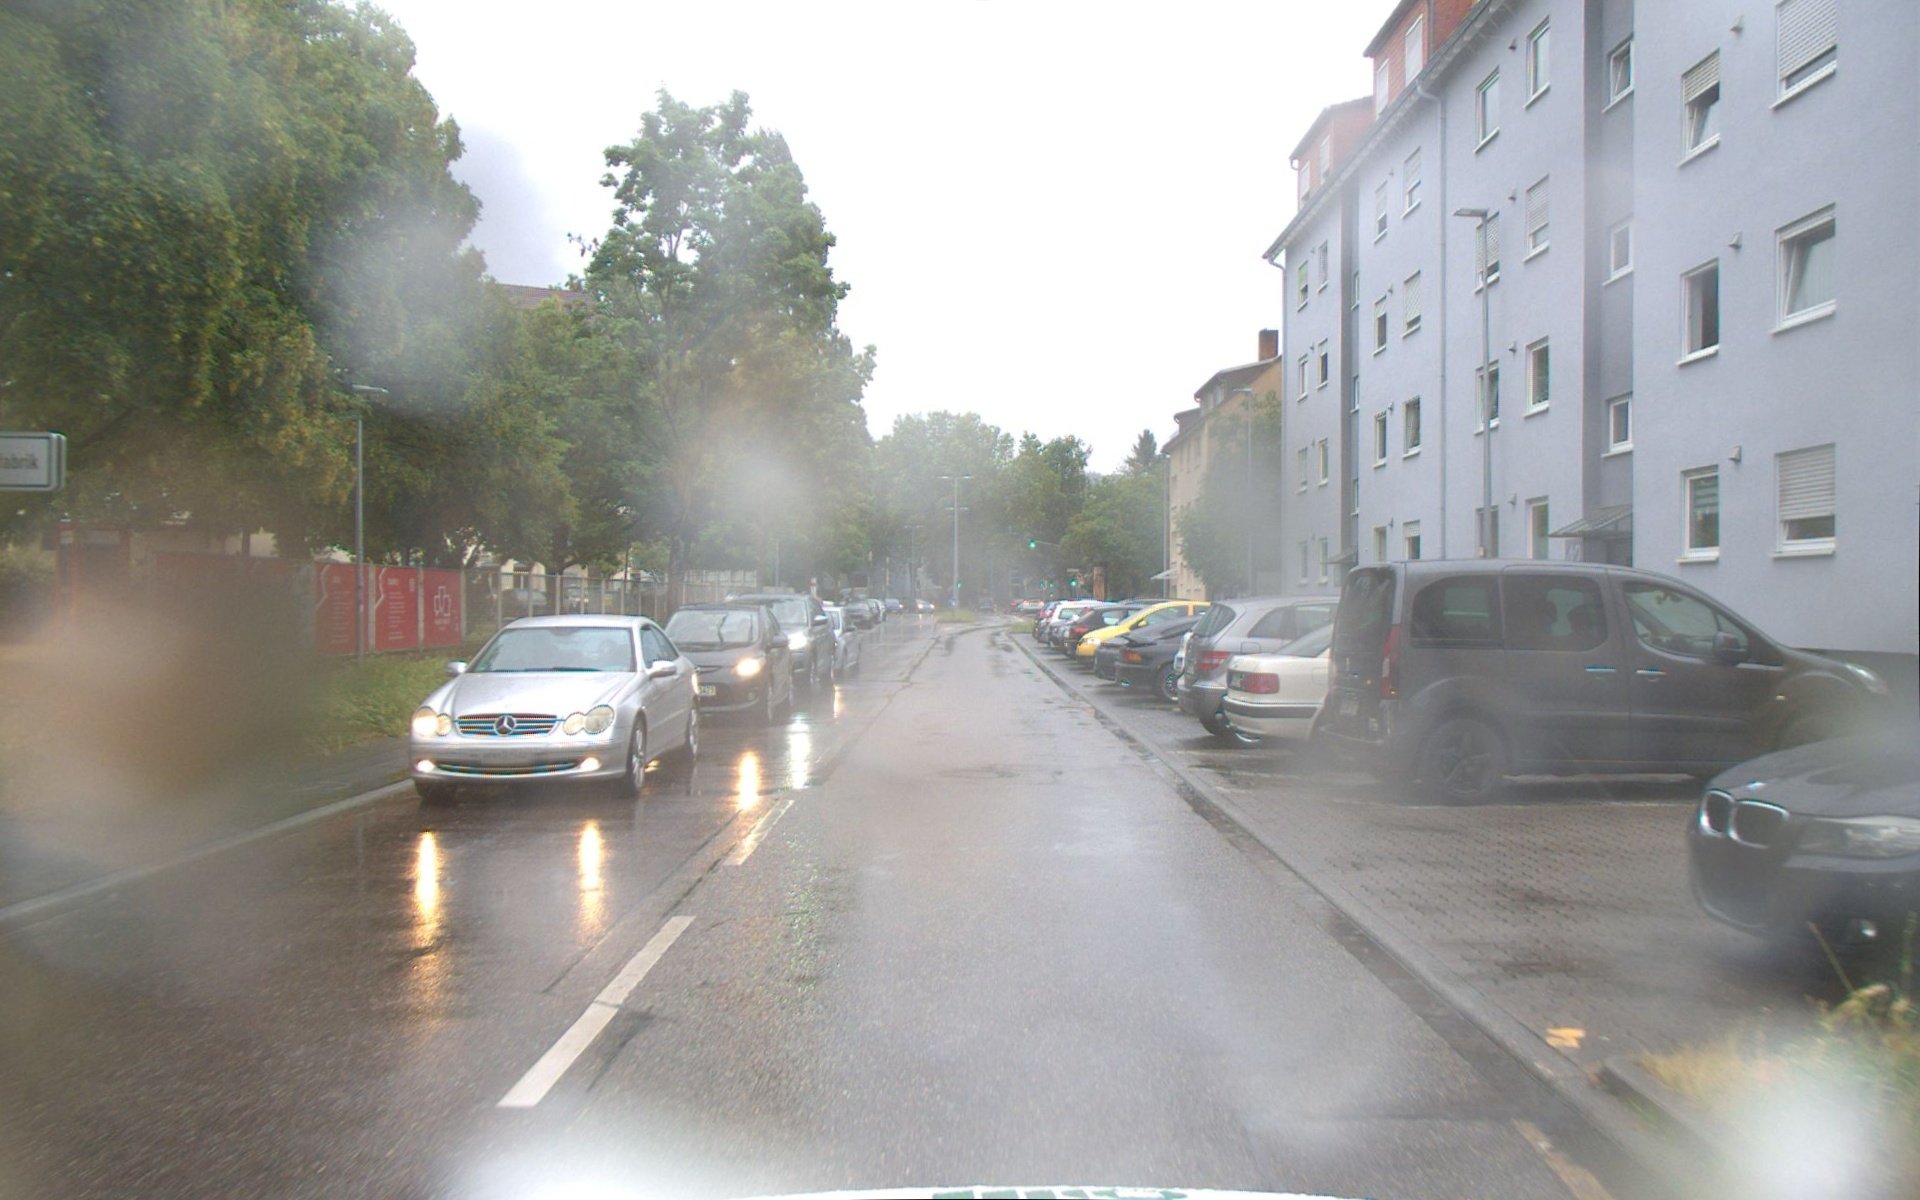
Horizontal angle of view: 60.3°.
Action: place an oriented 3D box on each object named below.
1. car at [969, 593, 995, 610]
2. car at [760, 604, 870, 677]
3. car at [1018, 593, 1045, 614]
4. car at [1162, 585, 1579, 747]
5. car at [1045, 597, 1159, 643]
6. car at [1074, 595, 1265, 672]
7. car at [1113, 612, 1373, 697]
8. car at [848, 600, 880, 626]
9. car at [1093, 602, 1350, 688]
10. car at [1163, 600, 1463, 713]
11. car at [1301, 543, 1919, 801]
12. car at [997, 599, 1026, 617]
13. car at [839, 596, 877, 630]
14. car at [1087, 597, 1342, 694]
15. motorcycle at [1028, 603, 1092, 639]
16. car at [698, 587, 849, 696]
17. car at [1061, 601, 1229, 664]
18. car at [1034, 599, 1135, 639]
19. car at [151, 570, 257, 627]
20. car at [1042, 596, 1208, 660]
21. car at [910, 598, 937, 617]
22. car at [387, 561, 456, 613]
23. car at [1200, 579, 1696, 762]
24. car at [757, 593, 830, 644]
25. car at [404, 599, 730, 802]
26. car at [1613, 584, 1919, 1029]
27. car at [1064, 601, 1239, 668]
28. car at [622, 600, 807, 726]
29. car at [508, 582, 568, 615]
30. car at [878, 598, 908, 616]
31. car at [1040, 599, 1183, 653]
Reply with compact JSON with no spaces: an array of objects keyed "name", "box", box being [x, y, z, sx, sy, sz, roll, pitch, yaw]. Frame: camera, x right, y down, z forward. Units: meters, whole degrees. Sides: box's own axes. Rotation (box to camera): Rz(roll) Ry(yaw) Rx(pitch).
[{"name":"car","box":[2.109,0.137,158.245,1.815,1.551,3.992,0,0,-9]},{"name":"car","box":[-2.940,0.798,34.339,1.637,1.407,4.254,0,0,4]},{"name":"car","box":[5.604,0.271,129.499,1.812,1.551,3.998,0,0,-2]},{"name":"car","box":[4.397,0.694,18.177,4.096,1.599,1.890,1,-1,-1]},{"name":"car","box":[5.071,0.716,59.465,3.906,1.579,1.904,1,-1,-2]},{"name":"car","box":[4.538,0.721,36.267,3.906,1.579,1.852,1,-1,-2]},{"name":"car","box":[4.335,0.823,25.834,3.774,1.229,1.956,1,0,2]},{"name":"car","box":[-5.841,0.775,100.561,1.890,1.510,3.998,0,0,-3]},{"name":"car","box":[4.818,0.817,30.995,4.532,1.461,2.000,1,-1,2]},{"name":"car","box":[4.867,0.762,23.174,3.776,1.480,1.836,1,0,-2]},{"name":"car","box":[4.980,0.516,13.015,4.148,1.837,1.943,0,0,-3]},{"name":"car","box":[4.424,0.667,143.686,1.815,1.551,4.145,0,0,-8]},{"name":"car","box":[-5.316,0.647,85.760,1.741,1.556,3.995,1,1,-7]},{"name":"car","box":[4.289,0.760,28.375,4.059,1.512,2.012,1,-1,0]},{"name":"motorcycle","box":[3.875,0.817,63.923,2.351,1.347,0.919,1,-1,-5]},{"name":"car","box":[-3.088,0.660,28.299,1.874,1.668,4.822,1,0,2]},{"name":"car","box":[4.584,0.803,41.483,4.012,1.483,2.000,1,0,1]},{"name":"car","box":[4.997,0.764,66.801,3.905,1.487,1.935,1,-1,1]},{"name":"car","box":[-22.263,-0.014,48.645,1.980,1.585,3.945,1,-1,-38]},{"name":"car","box":[4.402,0.745,44.621,4.252,1.579,2.040,1,-1,-1]},{"name":"car","box":[-3.512,0.697,158.571,1.712,1.718,3.983,1,0,-15]},{"name":"car","box":[-23.559,-0.551,72.260,1.974,2.159,3.957,1,-1,-31]},{"name":"car","box":[4.465,0.633,15.565,4.105,1.596,1.888,0,-1,-2]},{"name":"car","box":[-5.205,0.574,52.049,1.626,1.486,4.175,1,0,3]},{"name":"car","box":[-3.153,0.738,14.296,1.739,1.428,4.828,1,0,-1]},{"name":"car","box":[5.199,0.698,6.567,4.440,1.496,1.983,0,-1,0]},{"name":"car","box":[4.456,0.802,38.876,3.905,1.467,1.781,1,-1,-1]},{"name":"car","box":[-3.064,0.734,21.455,1.742,1.445,4.265,0,0,0]},{"name":"car","box":[-19.154,-0.077,75.002,1.687,1.459,3.611,1,-1,-31]},{"name":"car","box":[-6.035,0.638,148.518,1.959,1.512,3.986,1,0,-13]},{"name":"car","box":[4.540,0.773,49.583,4.179,1.479,1.985,1,1,5]}]
